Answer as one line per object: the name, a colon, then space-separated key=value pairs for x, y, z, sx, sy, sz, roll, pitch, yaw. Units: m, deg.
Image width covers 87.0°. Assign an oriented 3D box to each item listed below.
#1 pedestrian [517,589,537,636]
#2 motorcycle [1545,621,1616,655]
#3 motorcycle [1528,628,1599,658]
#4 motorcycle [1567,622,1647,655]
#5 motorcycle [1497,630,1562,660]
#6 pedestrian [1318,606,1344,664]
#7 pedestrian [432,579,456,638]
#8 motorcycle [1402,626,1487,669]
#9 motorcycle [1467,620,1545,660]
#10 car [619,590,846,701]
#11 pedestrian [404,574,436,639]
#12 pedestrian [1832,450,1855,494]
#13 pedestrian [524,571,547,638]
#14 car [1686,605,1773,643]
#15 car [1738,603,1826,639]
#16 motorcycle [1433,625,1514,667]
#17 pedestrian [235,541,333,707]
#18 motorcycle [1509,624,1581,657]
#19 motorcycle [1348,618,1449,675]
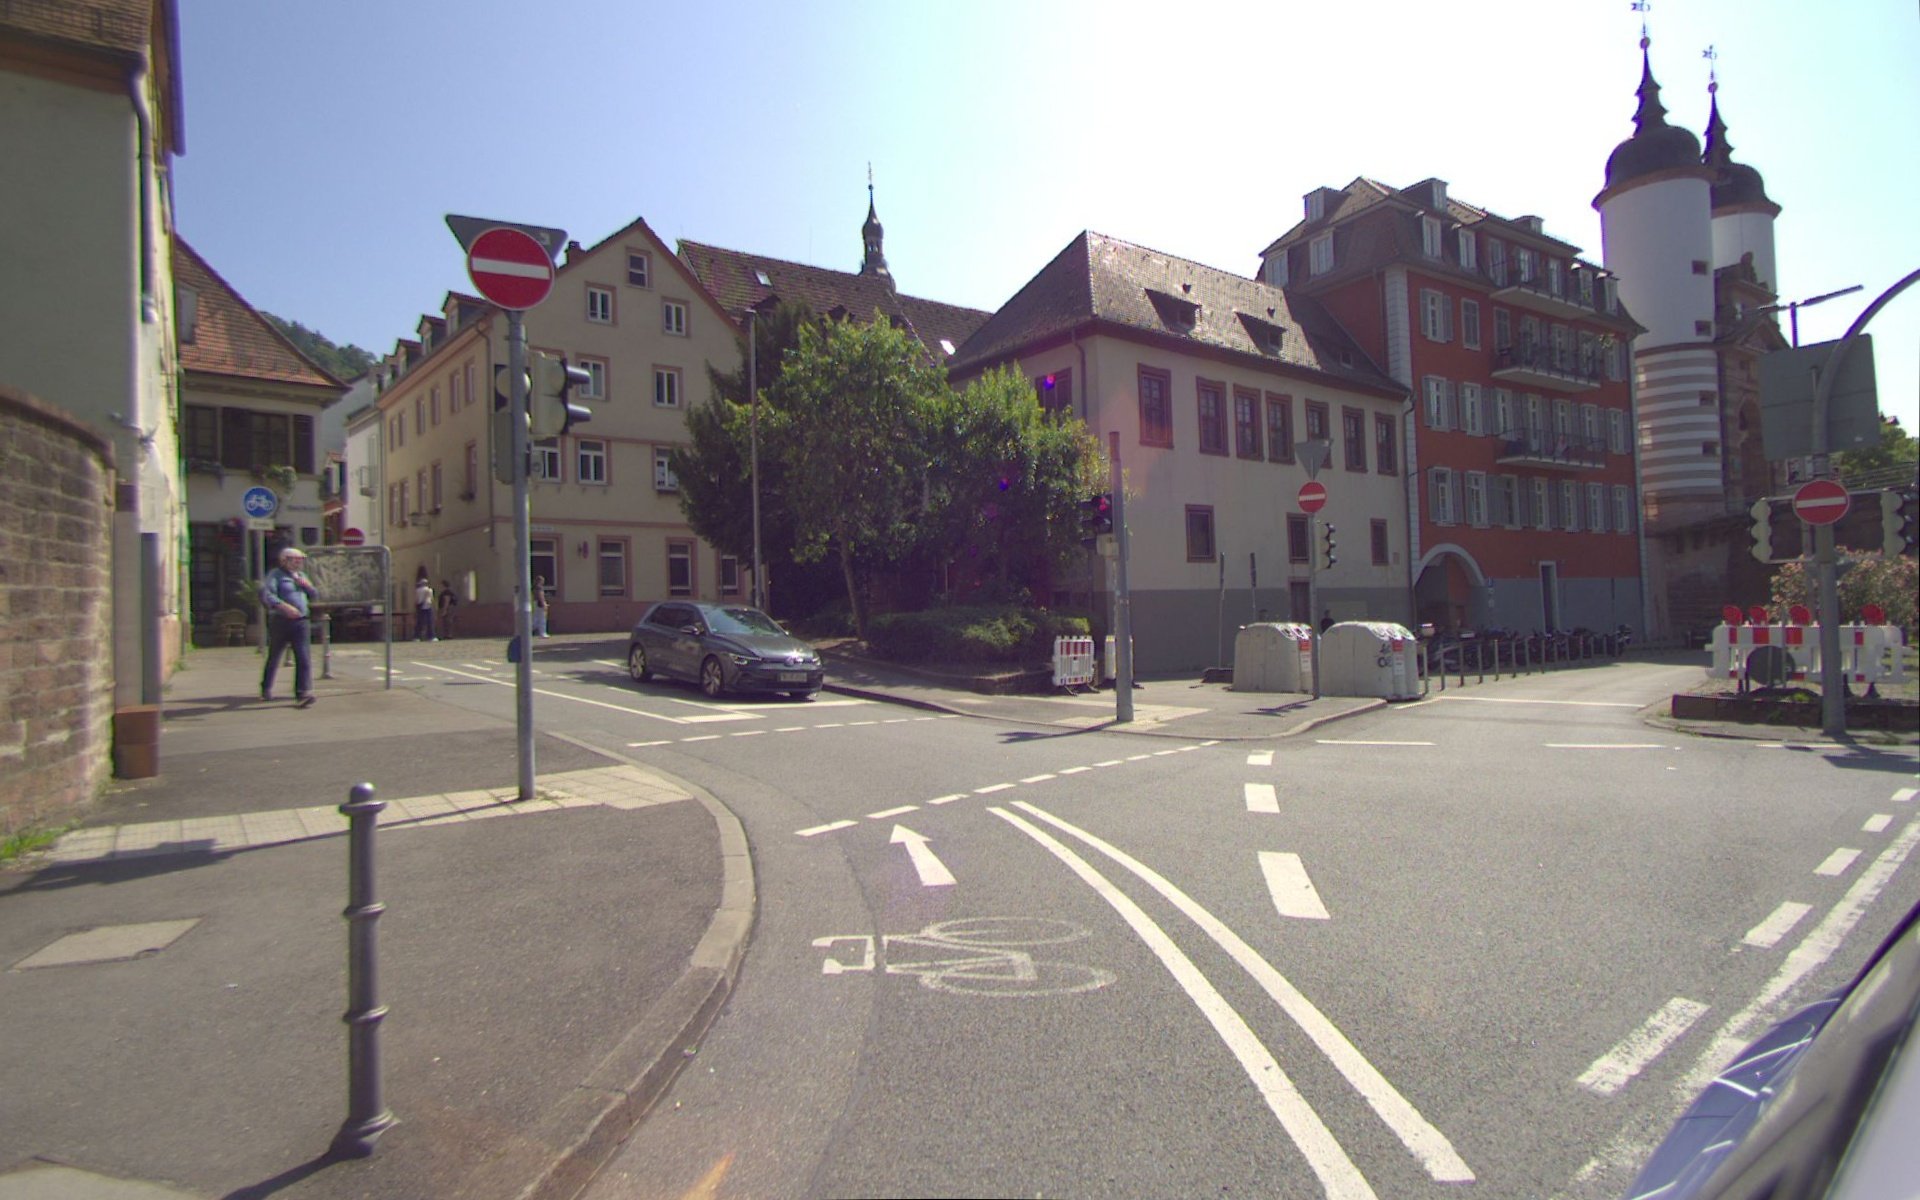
pedestrian: x=-12.085 y=0.356 z=28.247 sx=0.435 sy=1.293 sz=0.333 roll=1 pitch=1 yaw=-39
motorcycle: x=23.987 y=1.468 z=39.148 sx=2.120 sy=1.249 sz=0.839 roll=-1 pitch=-2 yaw=13
motorcycle: x=22.680 y=1.617 z=38.078 sx=2.162 sy=1.090 sz=0.626 roll=-2 pitch=-1 yaw=10
motorcycle: x=25.628 y=1.514 z=40.130 sx=2.504 sy=1.249 sz=0.839 roll=-1 pitch=-2 yaw=13
motorcycle: x=20.320 y=1.608 z=36.146 sx=1.900 sy=0.999 sz=0.546 roll=-2 pitch=-1 yaw=10
pedestrian: x=12.082 y=1.145 z=32.978 sx=0.608 sy=1.845 sz=0.495 roll=-2 pitch=0 yaw=-40
pedestrian: x=-14.358 y=0.230 z=28.144 sx=0.499 sy=1.595 sz=0.417 roll=1 pitch=2 yaw=-39
motorcycle: x=14.737 y=1.451 z=30.832 sx=2.206 sy=1.268 sz=0.625 roll=-2 pitch=-1 yaw=18
motorcycle: x=18.382 y=1.355 z=34.116 sx=2.154 sy=1.283 sz=0.778 roll=-2 pitch=-1 yaw=18
car: x=-3.810 y=0.687 z=16.551 sx=1.828 sy=1.505 sz=3.993 roll=5 pitch=-2 yaw=-42
pedestrian: x=-14.461 y=0.162 z=27.096 sx=0.651 sy=1.702 sz=0.454 roll=1 pitch=2 yaw=-39
pedestrian: x=42.946 y=-6.226 z=49.195 sx=0.694 sy=2.039 sz=0.640 roll=-2 pitch=0 yaw=-34
pedestrian: x=-11.664 y=0.120 z=27.788 sx=0.427 sy=1.810 sz=0.486 roll=1 pitch=2 yaw=-39
car: x=34.962 y=1.069 z=45.957 sx=3.734 sy=1.562 sz=1.678 roll=-2 pitch=-2 yaw=-28
car: x=39.174 y=0.964 z=48.217 sx=4.330 sy=1.511 sz=1.900 roll=-2 pitch=0 yaw=-32
motorcycle: x=16.135 y=1.444 z=31.862 sx=2.168 sy=1.283 sz=0.625 roll=-2 pitch=-1 yaw=18
pedestrian: x=-7.823 y=0.245 z=11.702 sx=0.848 sy=1.815 sz=0.926 roll=1 pitch=2 yaw=-38
motorcycle: x=21.512 y=1.485 z=37.231 sx=2.162 sy=1.162 sz=0.626 roll=-2 pitch=-1 yaw=10
motorcycle: x=12.358 y=1.288 z=28.644 sx=2.462 sy=1.552 sz=1.048 roll=-1 pitch=-1 yaw=16
